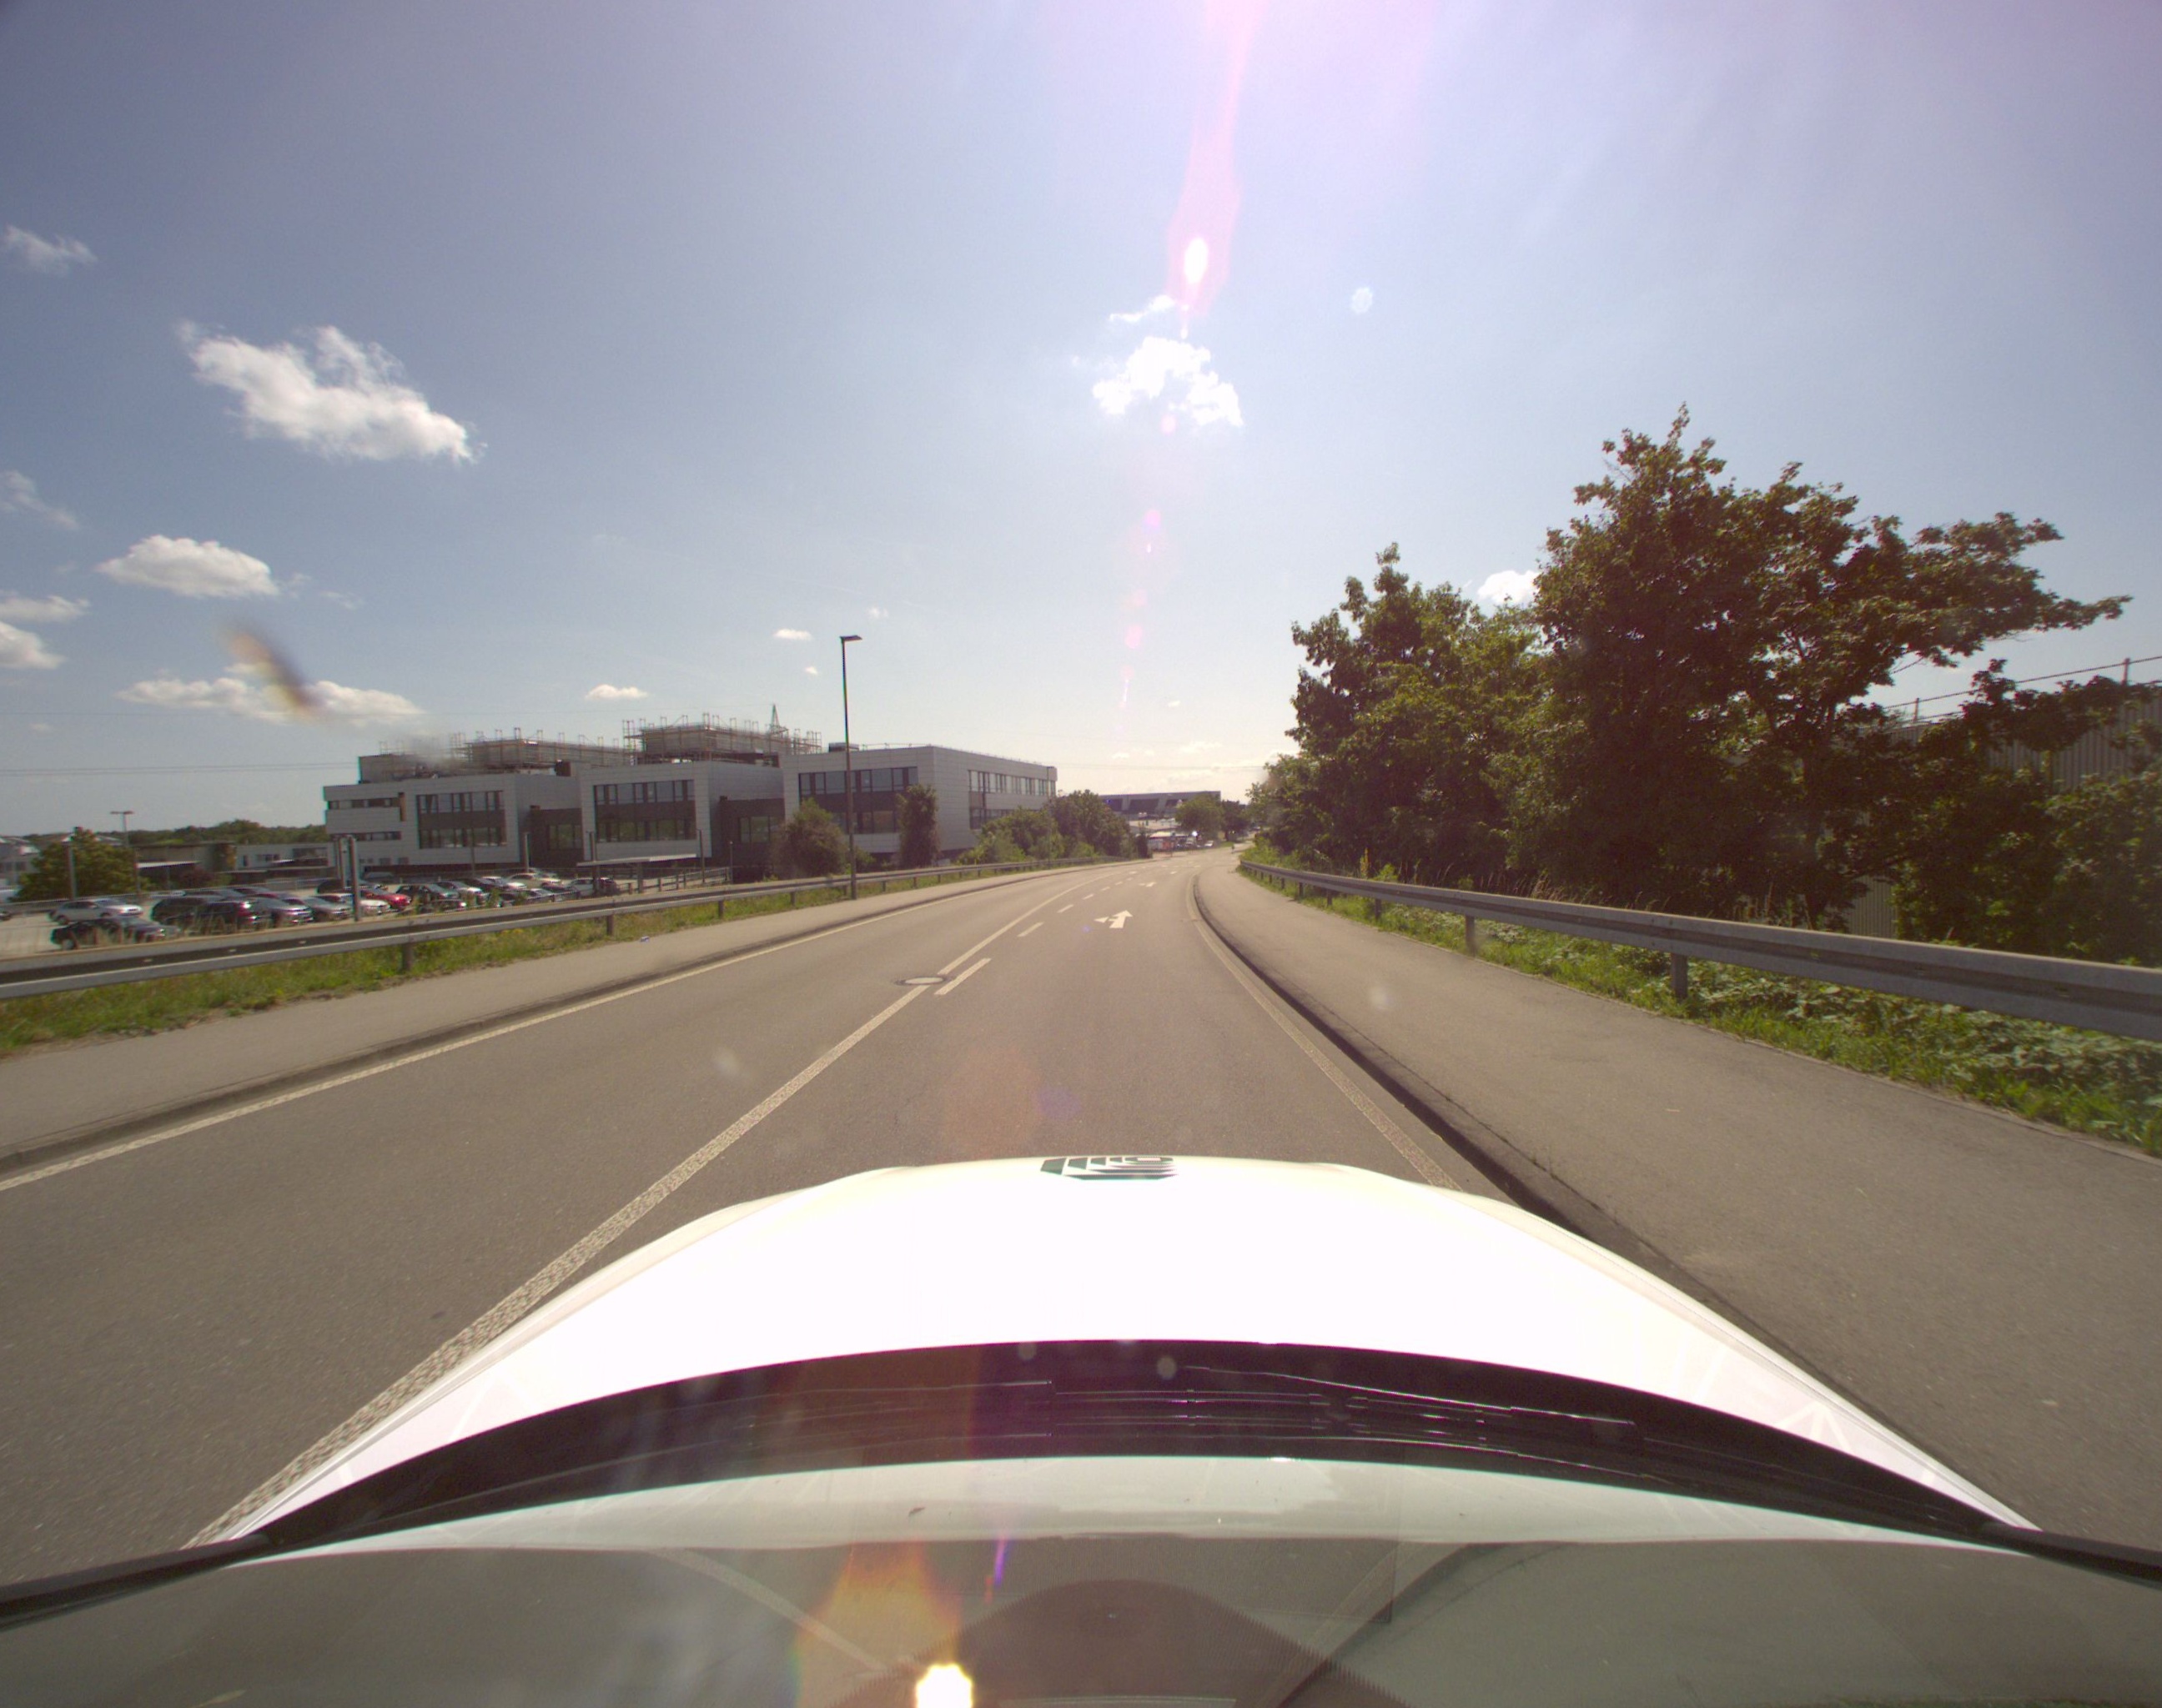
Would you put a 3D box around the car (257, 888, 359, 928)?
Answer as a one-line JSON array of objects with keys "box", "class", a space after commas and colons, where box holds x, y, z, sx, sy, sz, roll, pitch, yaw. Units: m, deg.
[{"box": [-45.468, 3.134, 47.989, 3.975, 2.013, 2.000, -3, 0, -1], "class": "car"}]

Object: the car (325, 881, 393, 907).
[{"box": [-63.102, 3.473, 71.202, 3.982, 2.013, 1.996, -1, 0, -7], "class": "car"}]

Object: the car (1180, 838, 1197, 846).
[{"box": [25.742, -2.795, 195.305, 3.968, 1.850, 1.837, -1, 1, 5], "class": "car"}]

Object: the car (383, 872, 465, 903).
[{"box": [-46.727, 2.376, 57.975, 3.983, 1.903, 1.996, -2, 3, -7], "class": "car"}]

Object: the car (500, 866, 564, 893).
[{"box": [-47.446, 2.192, 70.441, 3.983, 2.013, 1.996, -2, 3, -7], "class": "car"}]

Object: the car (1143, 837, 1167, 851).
[{"box": [14.478, -2.011, 158.586, 4.311, 2.608, 2.012, 0, 1, 44], "class": "car"}]

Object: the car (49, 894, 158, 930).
[{"box": [-61.795, 3.656, 51.553, 3.987, 1.837, 1.993, -4, 0, -10], "class": "car"}]

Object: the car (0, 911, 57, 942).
[{"box": [-70.953, 4.840, 53.773, 3.977, 1.841, 1.864, -3, 0, -3], "class": "car"}]

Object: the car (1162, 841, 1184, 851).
[{"box": [18.046, -1.651, 160.088, 3.951, 1.780, 2.012, 2, 4, 45], "class": "car"}]

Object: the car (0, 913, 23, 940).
[{"box": [-78.076, 5.248, 57.506, 3.977, 1.841, 1.864, -3, 0, -3], "class": "car"}]

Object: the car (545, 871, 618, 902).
[{"box": [-36.144, 2.351, 59.046, 3.982, 2.013, 1.957, -1, 3, -6], "class": "car"}]

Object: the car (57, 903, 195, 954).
[{"box": [-44.898, 3.494, 38.347, 3.973, 2.013, 2.001, -1, 3, 0], "class": "car"}]

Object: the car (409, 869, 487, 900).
[{"box": [-46.981, 2.237, 60.488, 3.983, 2.013, 1.996, -2, 3, -7], "class": "car"}]

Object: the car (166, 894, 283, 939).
[{"box": [-45.364, 3.290, 43.205, 3.975, 2.013, 2.000, -3, 0, -1], "class": "car"}]

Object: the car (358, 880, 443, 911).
[{"box": [-46.273, 2.817, 55.435, 3.976, 1.814, 1.999, -1, 3, -2], "class": "car"}]

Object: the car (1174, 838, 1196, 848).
[{"box": [20.840, -2.206, 163.741, 3.950, 1.903, 2.013, 1, 4, 43], "class": "car"}]

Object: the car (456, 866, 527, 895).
[{"box": [-47.204, 2.117, 65.271, 3.983, 2.013, 1.996, -2, 3, -7], "class": "car"}]

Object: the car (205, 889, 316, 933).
[{"box": [-45.832, 3.171, 45.558, 3.975, 2.013, 2.000, -3, 2, -1], "class": "car"}]

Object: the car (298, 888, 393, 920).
[{"box": [-45.598, 3.090, 50.550, 3.975, 1.684, 2.000, -3, 0, -1], "class": "car"}]

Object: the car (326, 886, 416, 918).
[{"box": [-46.108, 3.095, 52.932, 3.975, 1.708, 2.000, -3, 0, -1], "class": "car"}]

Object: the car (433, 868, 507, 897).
[{"box": [-47.090, 2.177, 62.840, 3.983, 2.013, 1.996, -2, 3, -7], "class": "car"}]
